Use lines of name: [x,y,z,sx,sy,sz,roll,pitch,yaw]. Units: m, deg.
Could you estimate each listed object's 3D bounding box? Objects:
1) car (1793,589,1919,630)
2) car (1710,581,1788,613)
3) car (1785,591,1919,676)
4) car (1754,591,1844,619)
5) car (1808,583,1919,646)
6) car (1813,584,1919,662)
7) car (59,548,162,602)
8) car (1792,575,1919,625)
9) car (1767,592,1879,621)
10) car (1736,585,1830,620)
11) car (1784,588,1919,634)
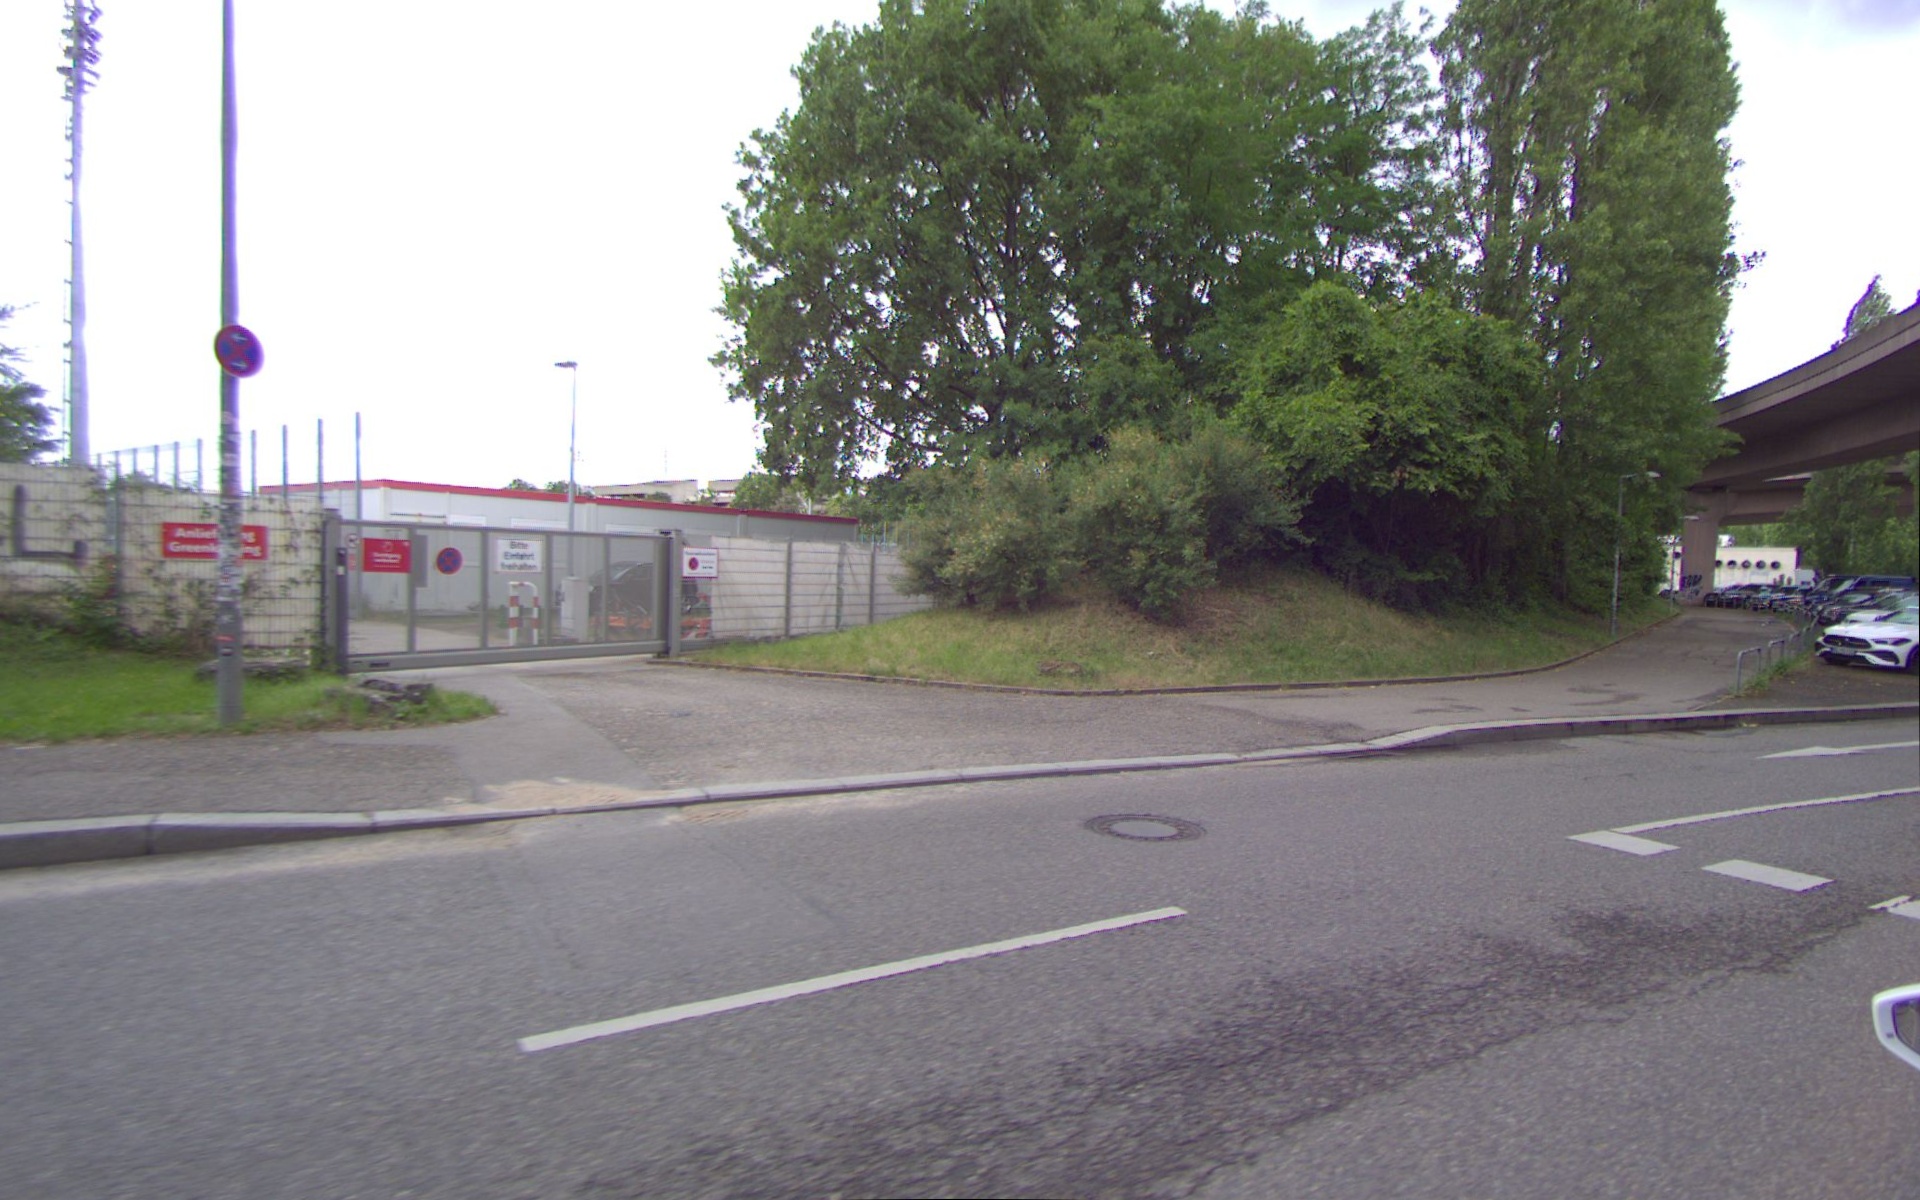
car: [38.945,0.397,43.579,4.073,1.698,1.900,1,1,-3]
car: [51.823,-0.227,66.020,4.010,1.735,1.655,3,4,-11]
car: [20.892,0.804,21.660,4.740,1.500,1.997,4,5,-8]
car: [48.328,0.260,57.897,3.814,1.494,1.792,1,1,-5]
car: [28.151,0.456,30.043,4.085,1.714,1.861,2,2,-5]
car: [23.795,0.632,24.536,4.319,1.604,1.997,3,5,-7]
car: [-28.190,-0.829,33.284,4.147,1.652,1.876,2,1,39]
car: [44.296,-0.006,49.574,4.925,2.285,2.121,1,1,-7]
car: [46.949,0.350,54.700,4.557,1.454,1.999,1,0,-4]
car: [49.460,0.174,60.428,4.219,1.824,1.845,-3,0,-4]
car: [34.261,0.415,37.952,4.795,1.508,1.861,1,4,-5]
